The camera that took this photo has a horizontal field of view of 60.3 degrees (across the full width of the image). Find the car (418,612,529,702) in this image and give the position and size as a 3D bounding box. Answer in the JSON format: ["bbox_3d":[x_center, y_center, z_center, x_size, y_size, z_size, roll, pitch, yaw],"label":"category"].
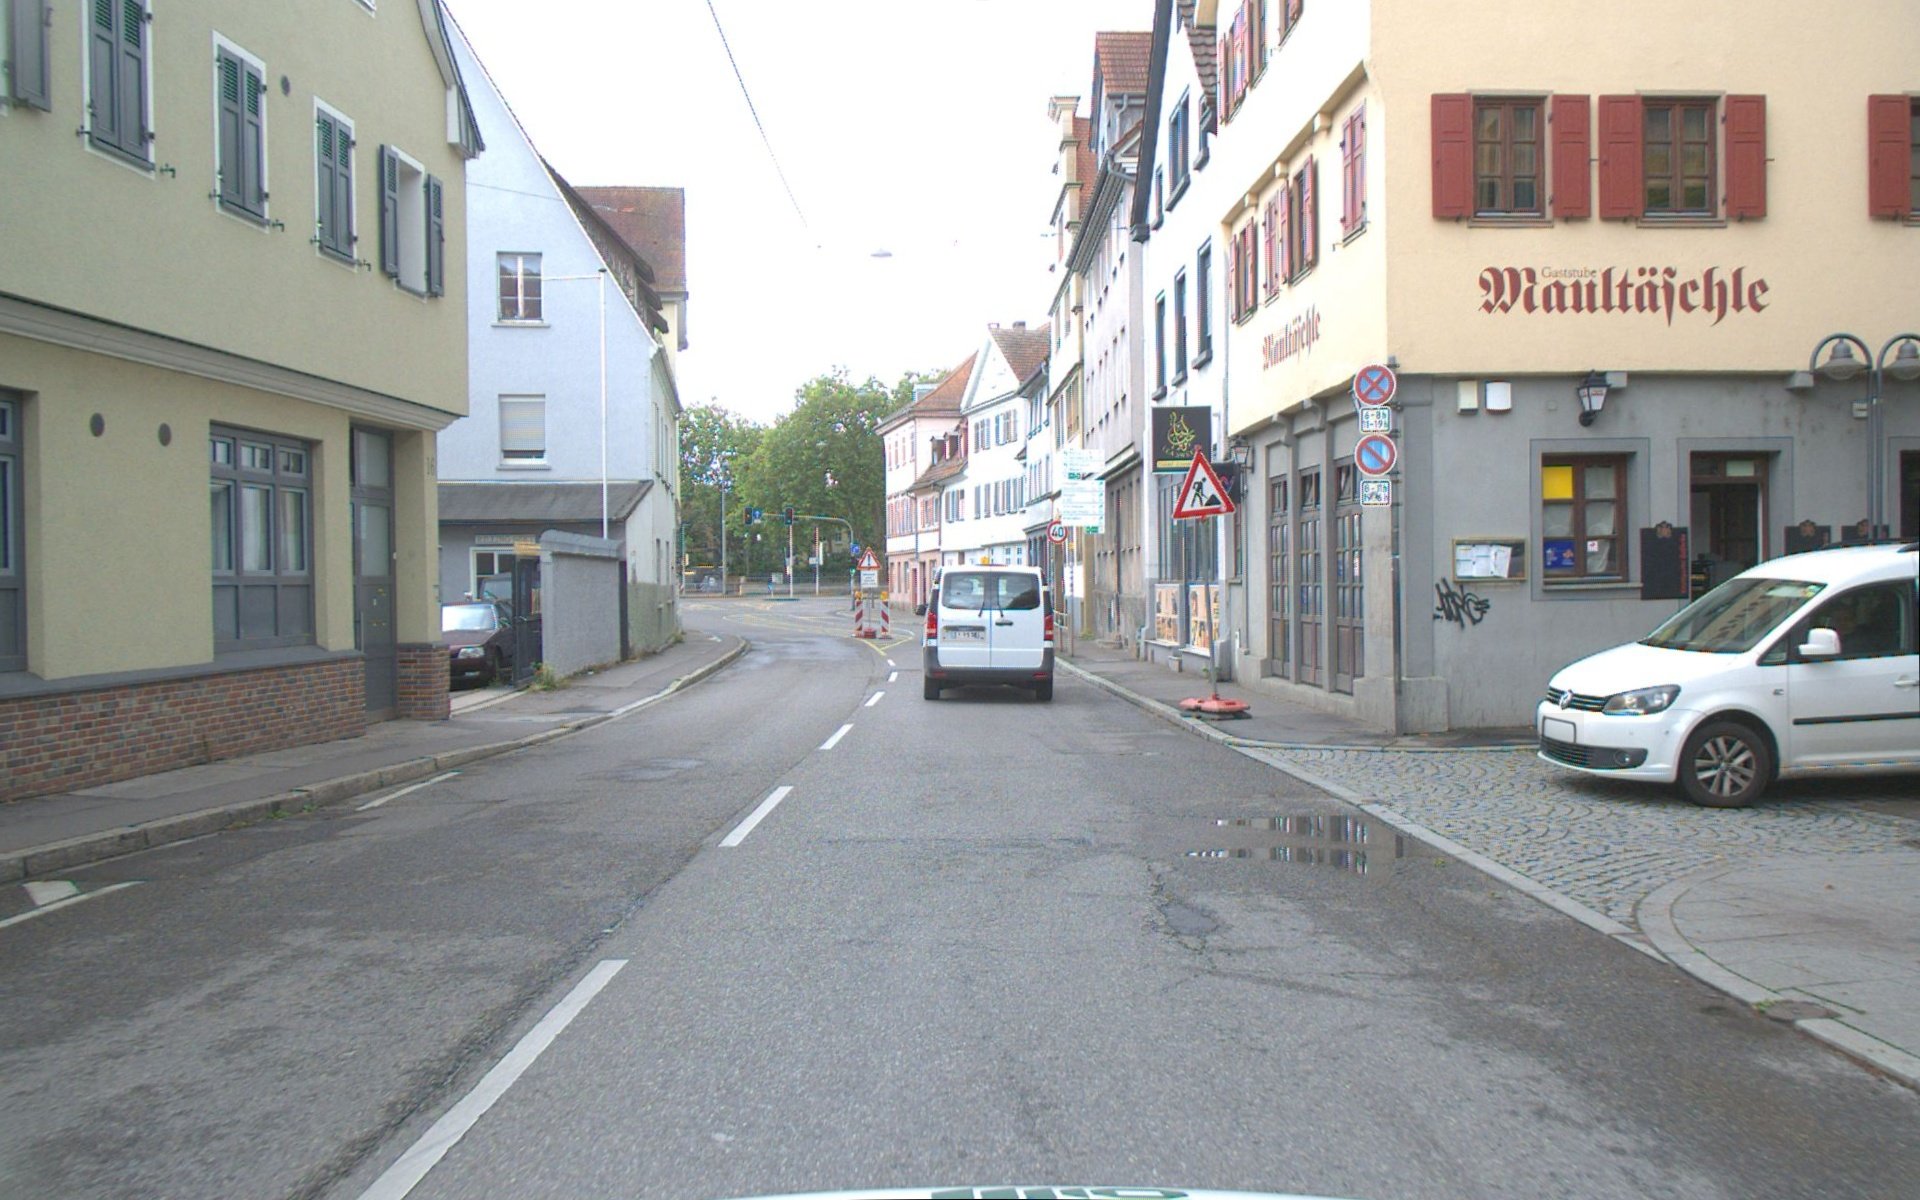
[{"bbox_3d":[-8.184,0.927,28.055,1.618,1.378,3.985,-1,-1,-14],"label":"car"}]

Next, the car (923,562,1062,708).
[{"bbox_3d":[0.400,0.487,24.550,1.835,1.945,3.998,-1,0,-2],"label":"car"}]

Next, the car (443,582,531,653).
[{"bbox_3d":[-9.724,0.365,34.178,1.618,1.378,3.985,0,-1,-14],"label":"car"}]

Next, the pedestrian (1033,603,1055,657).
[{"bbox_3d":[2.775,0.983,54.652,0.630,1.778,0.562,0,-1,-5],"label":"pedestrian"}]

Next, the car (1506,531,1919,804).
[{"bbox_3d":[6.515,0.417,12.481,4.159,1.829,1.846,-1,1,-6],"label":"car"}]
